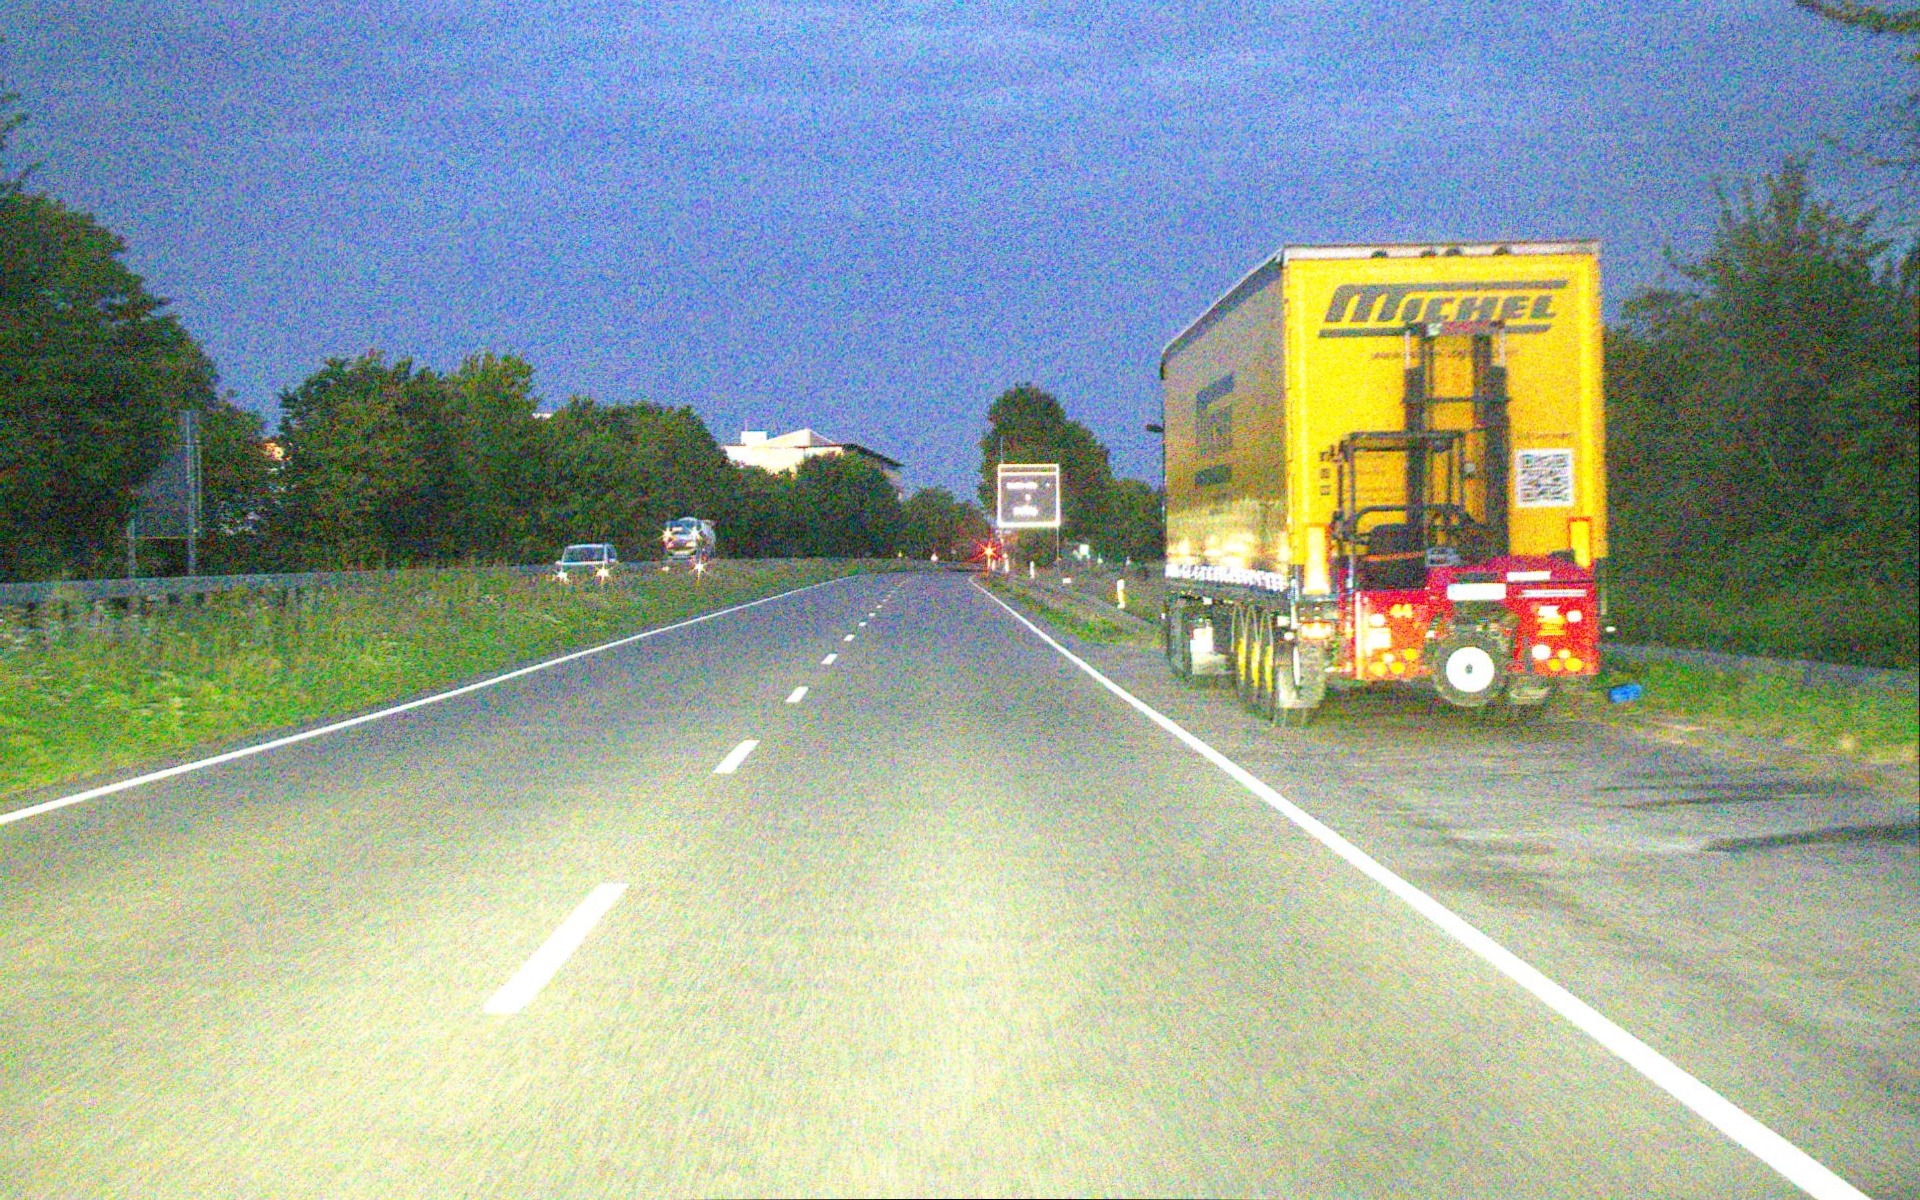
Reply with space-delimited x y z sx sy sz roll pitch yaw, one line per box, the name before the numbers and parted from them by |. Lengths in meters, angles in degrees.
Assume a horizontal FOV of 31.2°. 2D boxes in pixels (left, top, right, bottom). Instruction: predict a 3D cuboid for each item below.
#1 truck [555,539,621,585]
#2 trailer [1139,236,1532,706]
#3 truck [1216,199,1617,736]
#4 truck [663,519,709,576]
truck | -13.774 -1.408 127.442 2.016 1.647 4.774 1 0 -1
trailer | 3.627 -1.230 36.540 2.622 4.090 12.938 0 1 -1
truck | 3.708 -1.084 29.322 2.579 4.057 6.130 1 1 0
truck | -16.971 -3.251 213.134 2.219 3.433 6.715 1 0 1
